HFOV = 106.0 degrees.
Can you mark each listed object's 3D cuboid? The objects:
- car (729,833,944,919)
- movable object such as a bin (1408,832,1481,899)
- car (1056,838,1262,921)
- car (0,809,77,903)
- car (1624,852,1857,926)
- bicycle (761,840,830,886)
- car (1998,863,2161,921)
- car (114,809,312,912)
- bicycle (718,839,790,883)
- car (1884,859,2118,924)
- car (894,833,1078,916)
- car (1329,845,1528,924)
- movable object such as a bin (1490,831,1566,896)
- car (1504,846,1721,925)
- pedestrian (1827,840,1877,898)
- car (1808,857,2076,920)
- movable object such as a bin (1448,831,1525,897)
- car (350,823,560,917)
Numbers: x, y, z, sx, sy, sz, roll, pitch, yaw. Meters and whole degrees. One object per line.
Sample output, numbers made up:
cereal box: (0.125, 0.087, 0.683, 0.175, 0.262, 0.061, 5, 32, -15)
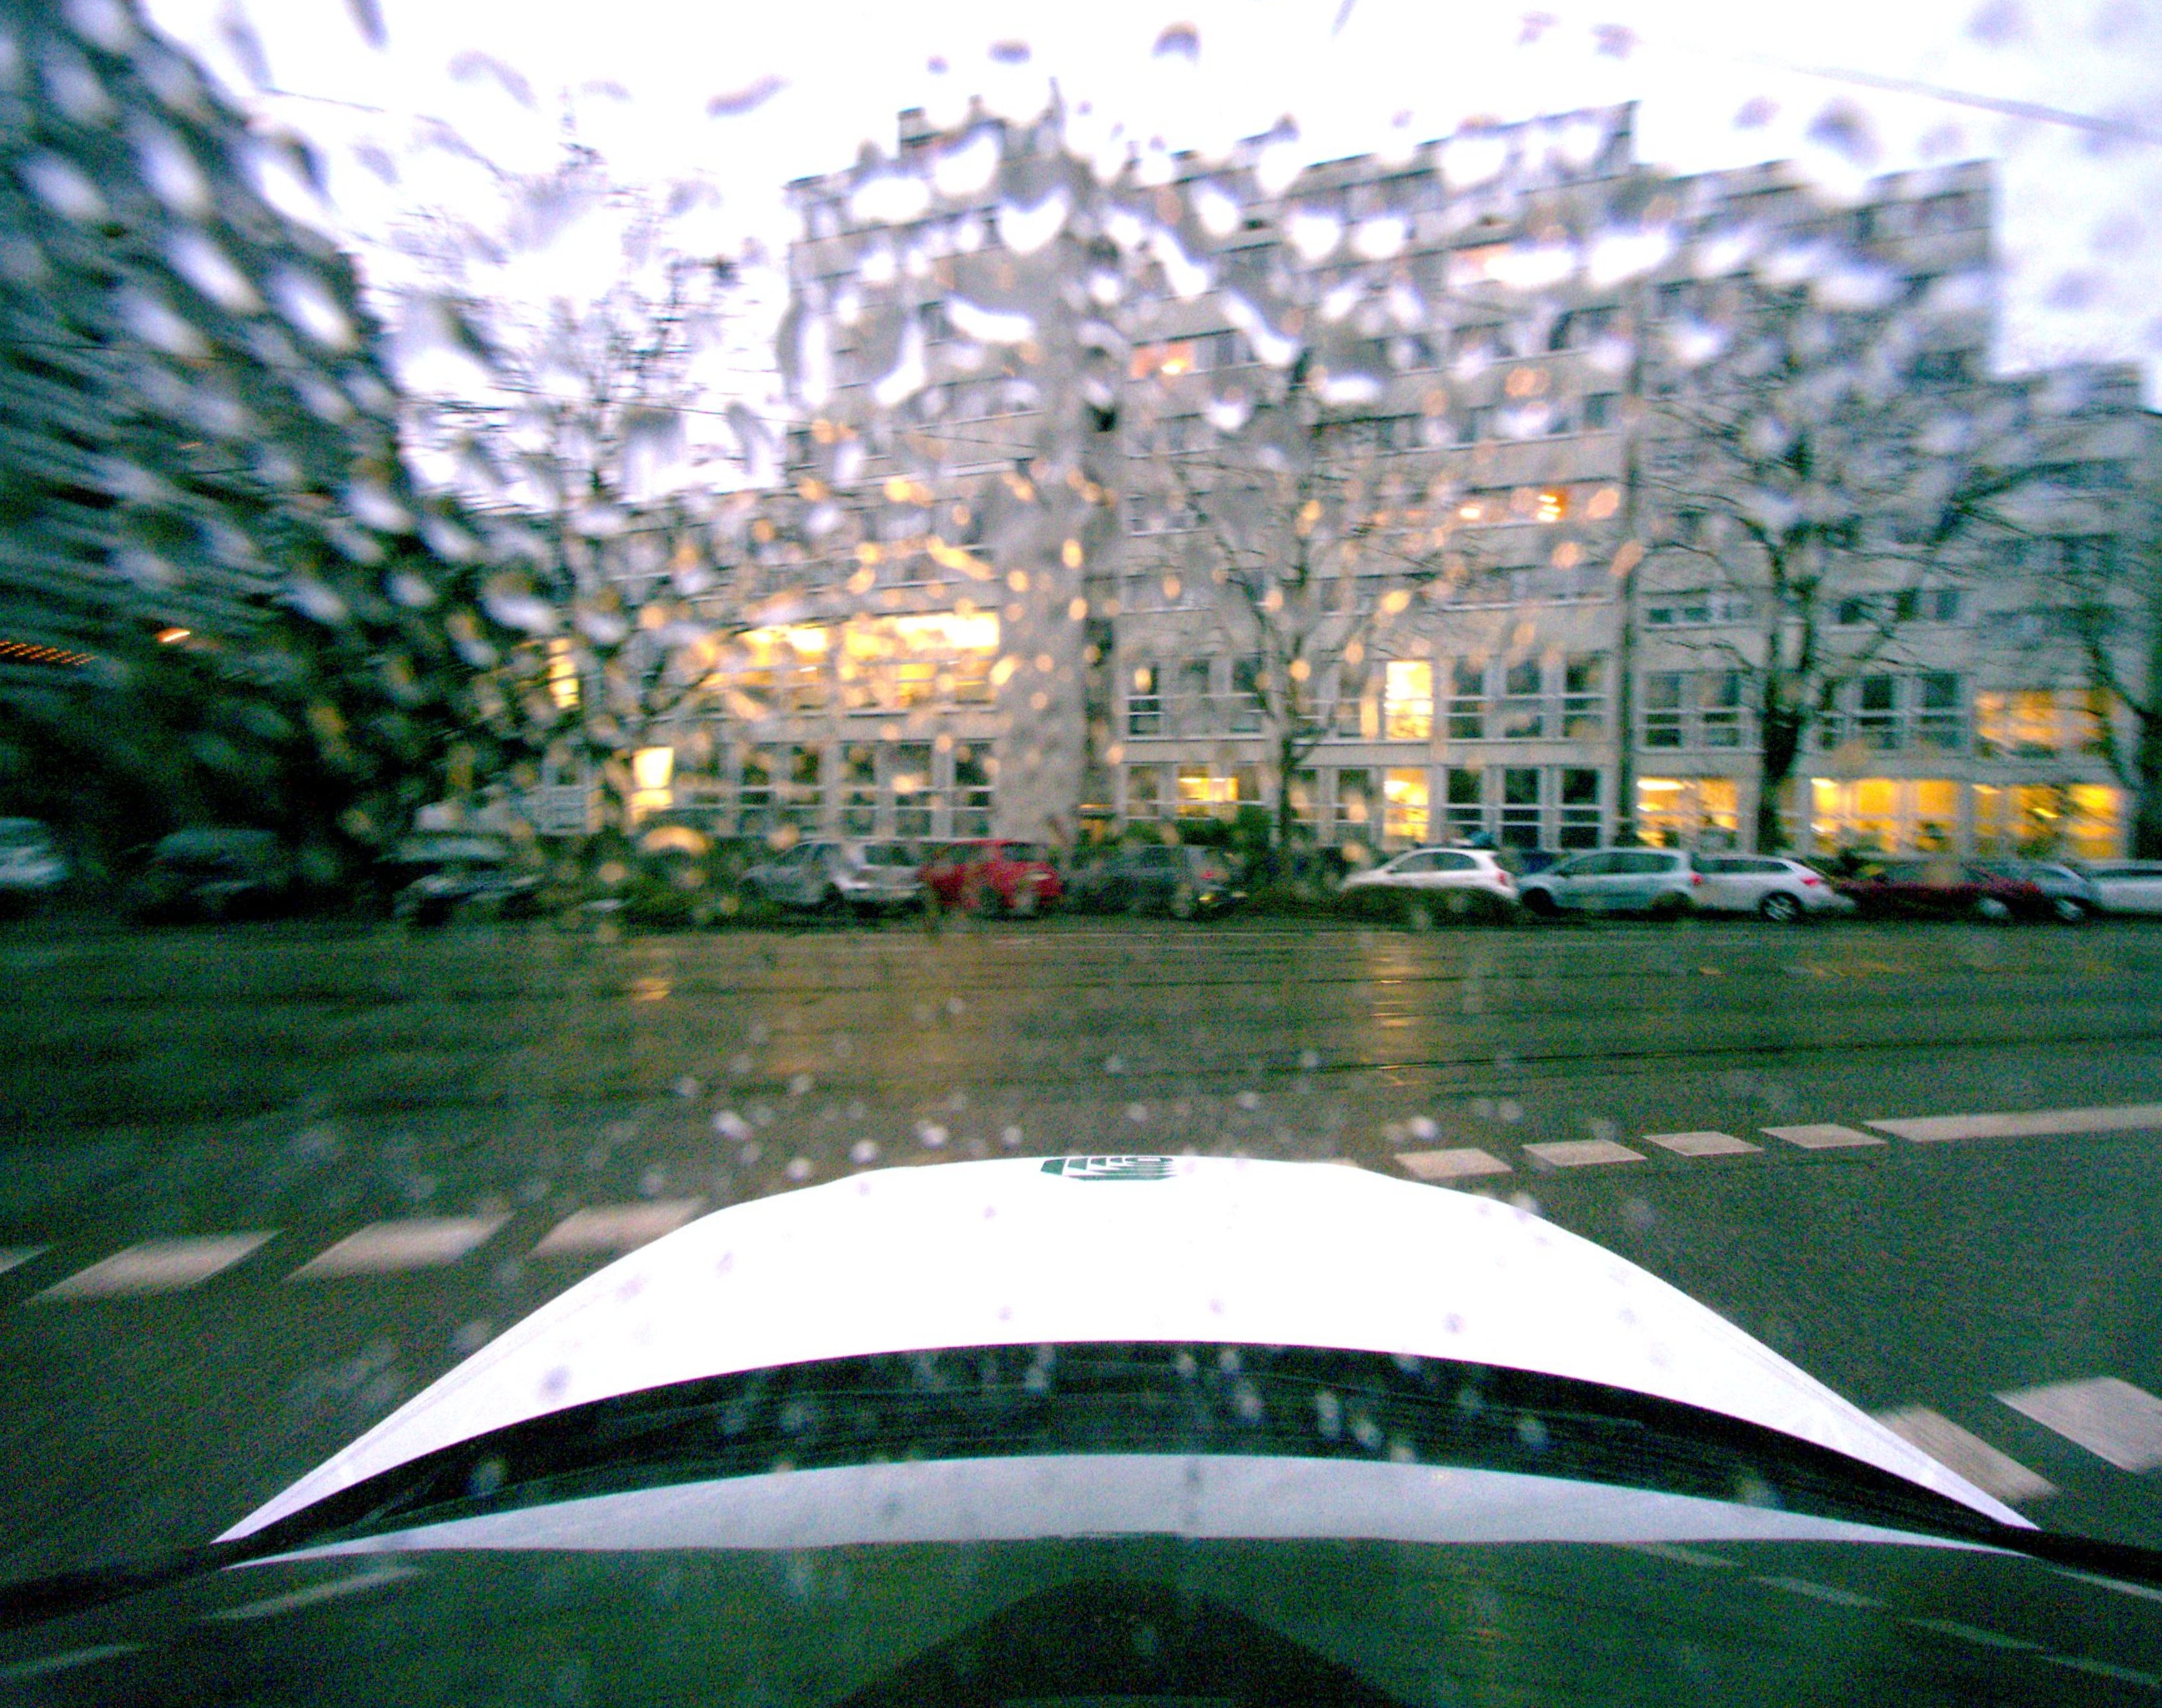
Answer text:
car: (-4.704, 0.340, 15.527, 3.948, 1.446, 1.804, 1, 1, 34)
movable object such as a bin: (10.540, 0.316, 23.689, 1.313, 1.860, 1.570, 0, 1, -9)
car: (1.533, 0.439, 16.573, 3.804, 1.492, 1.707, 1, 1, 36)
car: (-17.739, -0.003, 13.115, 3.949, 1.399, 1.868, 1, 1, 38)
car: (15.001, 0.734, 18.670, 1.746, 1.444, 3.951, 2, -1, -43)
bicycle: (-7.508, 0.216, 21.510, 0.636, 1.120, 2.213, 1, 1, 12)
car: (27.524, 0.989, 21.692, 3.803, 1.423, 1.748, 1, 1, 34)
car: (-14.460, 0.057, 13.511, 3.949, 1.462, 1.868, 1, 1, 38)
bicycle: (-8.687, 0.165, 21.721, 0.636, 1.120, 2.213, 1, 1, 12)
car: (23.907, 0.924, 21.408, 3.951, 1.463, 1.747, 1, -1, 45)
car: (-1.947, 0.346, 16.308, 3.407, 1.492, 1.740, 1, 1, 38)
car: (7.759, 0.607, 18.289, 3.827, 1.551, 1.704, 1, 1, 35)
movable object such as a bin: (13.238, 0.246, 24.179, 1.313, 1.860, 1.570, 0, 1, -9)
car: (11.900, 0.630, 18.365, 3.949, 1.563, 1.748, 1, 1, 38)
pedestrian: (22.801, 0.446, 24.086, 0.970, 1.677, 0.596, 1, 0, -11)
car: (21.228, 0.811, 20.370, 4.292, 1.352, 1.761, 1, -1, 31)
movable object such as a bin: (11.891, 0.263, 23.966, 1.388, 1.860, 1.570, 0, 1, -9)
car: (-10.655, 0.202, 13.785, 3.949, 1.379, 1.868, 1, 1, 38)
